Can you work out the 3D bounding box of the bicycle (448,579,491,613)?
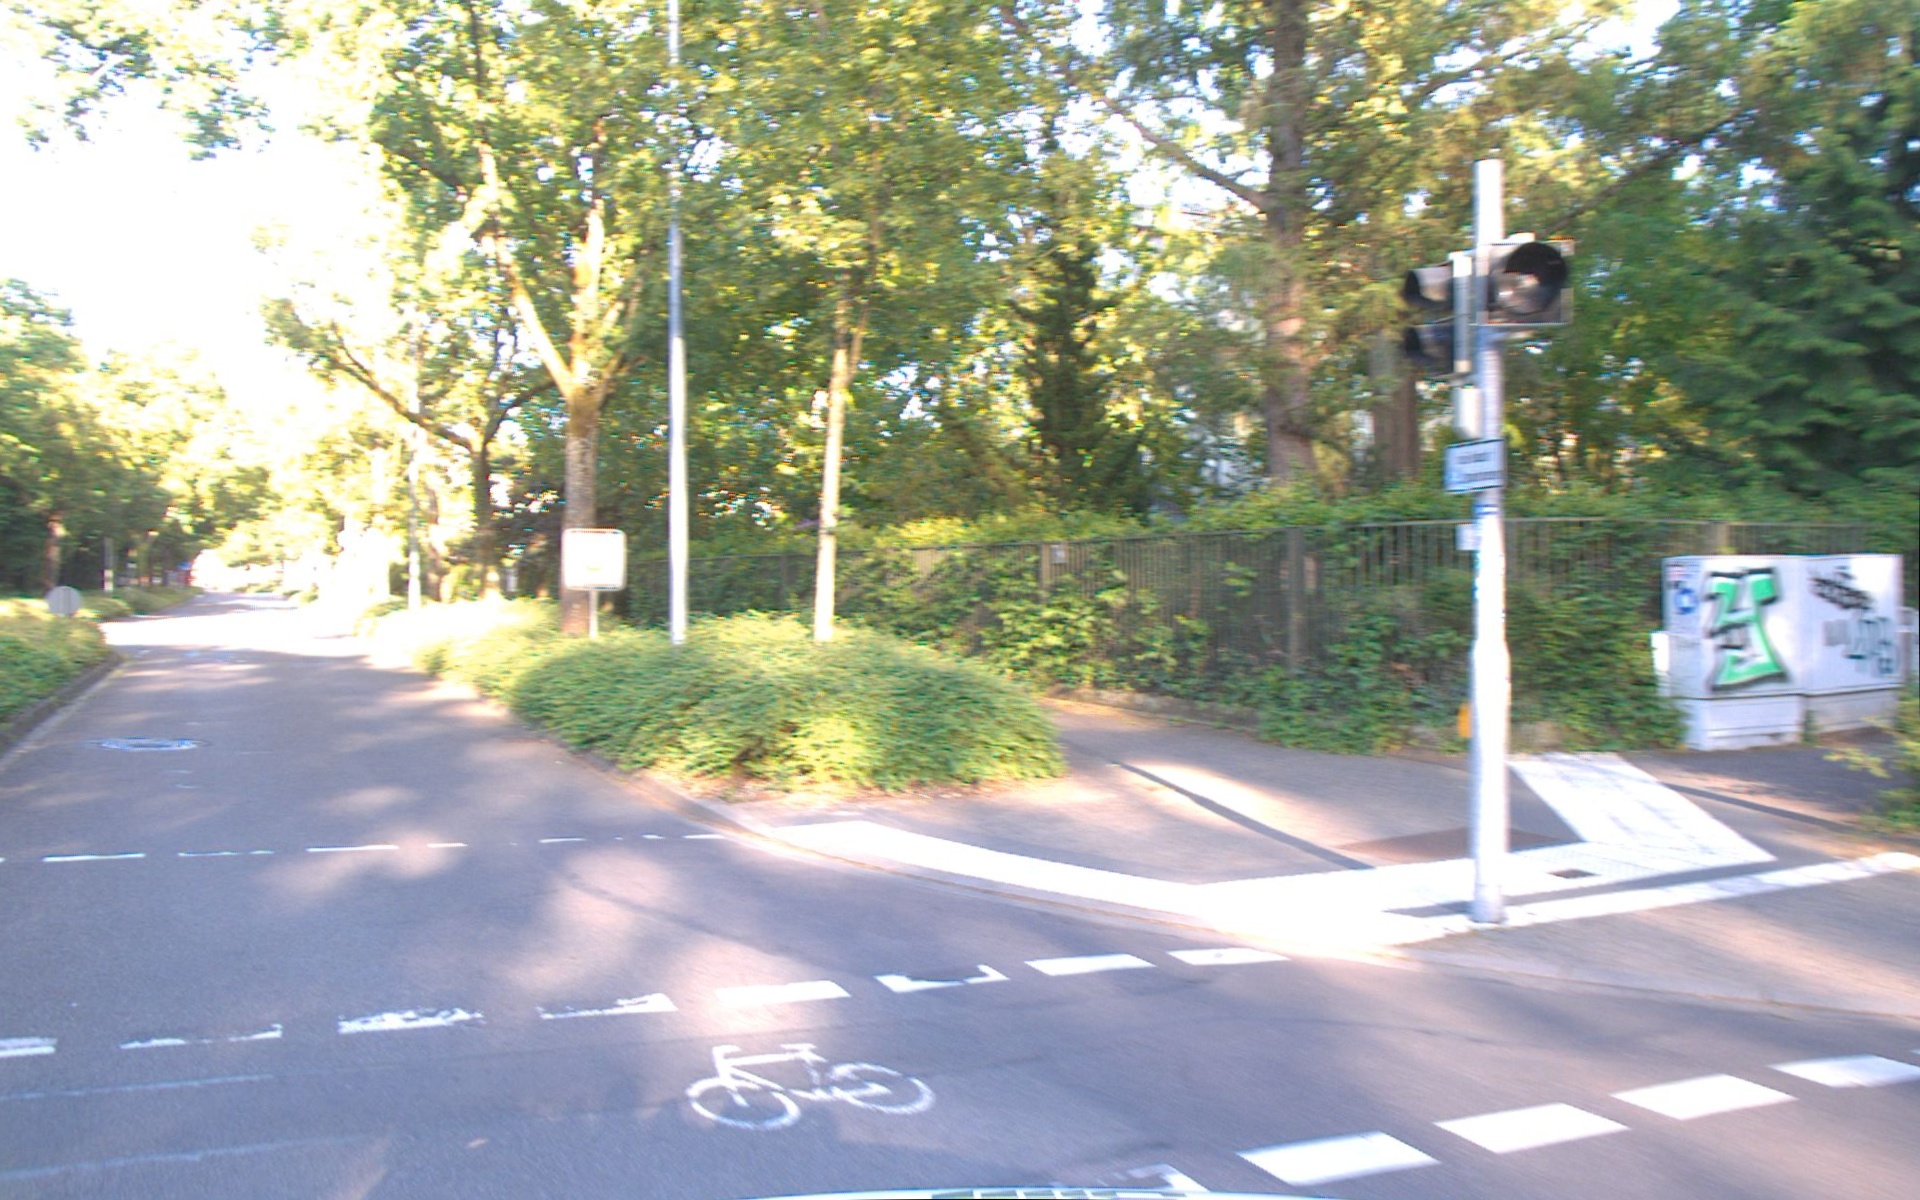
[{"bbox_3d":[-19.024,-0.162,64.208,0.865,1.221,2.327,-2,2,1],"label":"bicycle"}]
